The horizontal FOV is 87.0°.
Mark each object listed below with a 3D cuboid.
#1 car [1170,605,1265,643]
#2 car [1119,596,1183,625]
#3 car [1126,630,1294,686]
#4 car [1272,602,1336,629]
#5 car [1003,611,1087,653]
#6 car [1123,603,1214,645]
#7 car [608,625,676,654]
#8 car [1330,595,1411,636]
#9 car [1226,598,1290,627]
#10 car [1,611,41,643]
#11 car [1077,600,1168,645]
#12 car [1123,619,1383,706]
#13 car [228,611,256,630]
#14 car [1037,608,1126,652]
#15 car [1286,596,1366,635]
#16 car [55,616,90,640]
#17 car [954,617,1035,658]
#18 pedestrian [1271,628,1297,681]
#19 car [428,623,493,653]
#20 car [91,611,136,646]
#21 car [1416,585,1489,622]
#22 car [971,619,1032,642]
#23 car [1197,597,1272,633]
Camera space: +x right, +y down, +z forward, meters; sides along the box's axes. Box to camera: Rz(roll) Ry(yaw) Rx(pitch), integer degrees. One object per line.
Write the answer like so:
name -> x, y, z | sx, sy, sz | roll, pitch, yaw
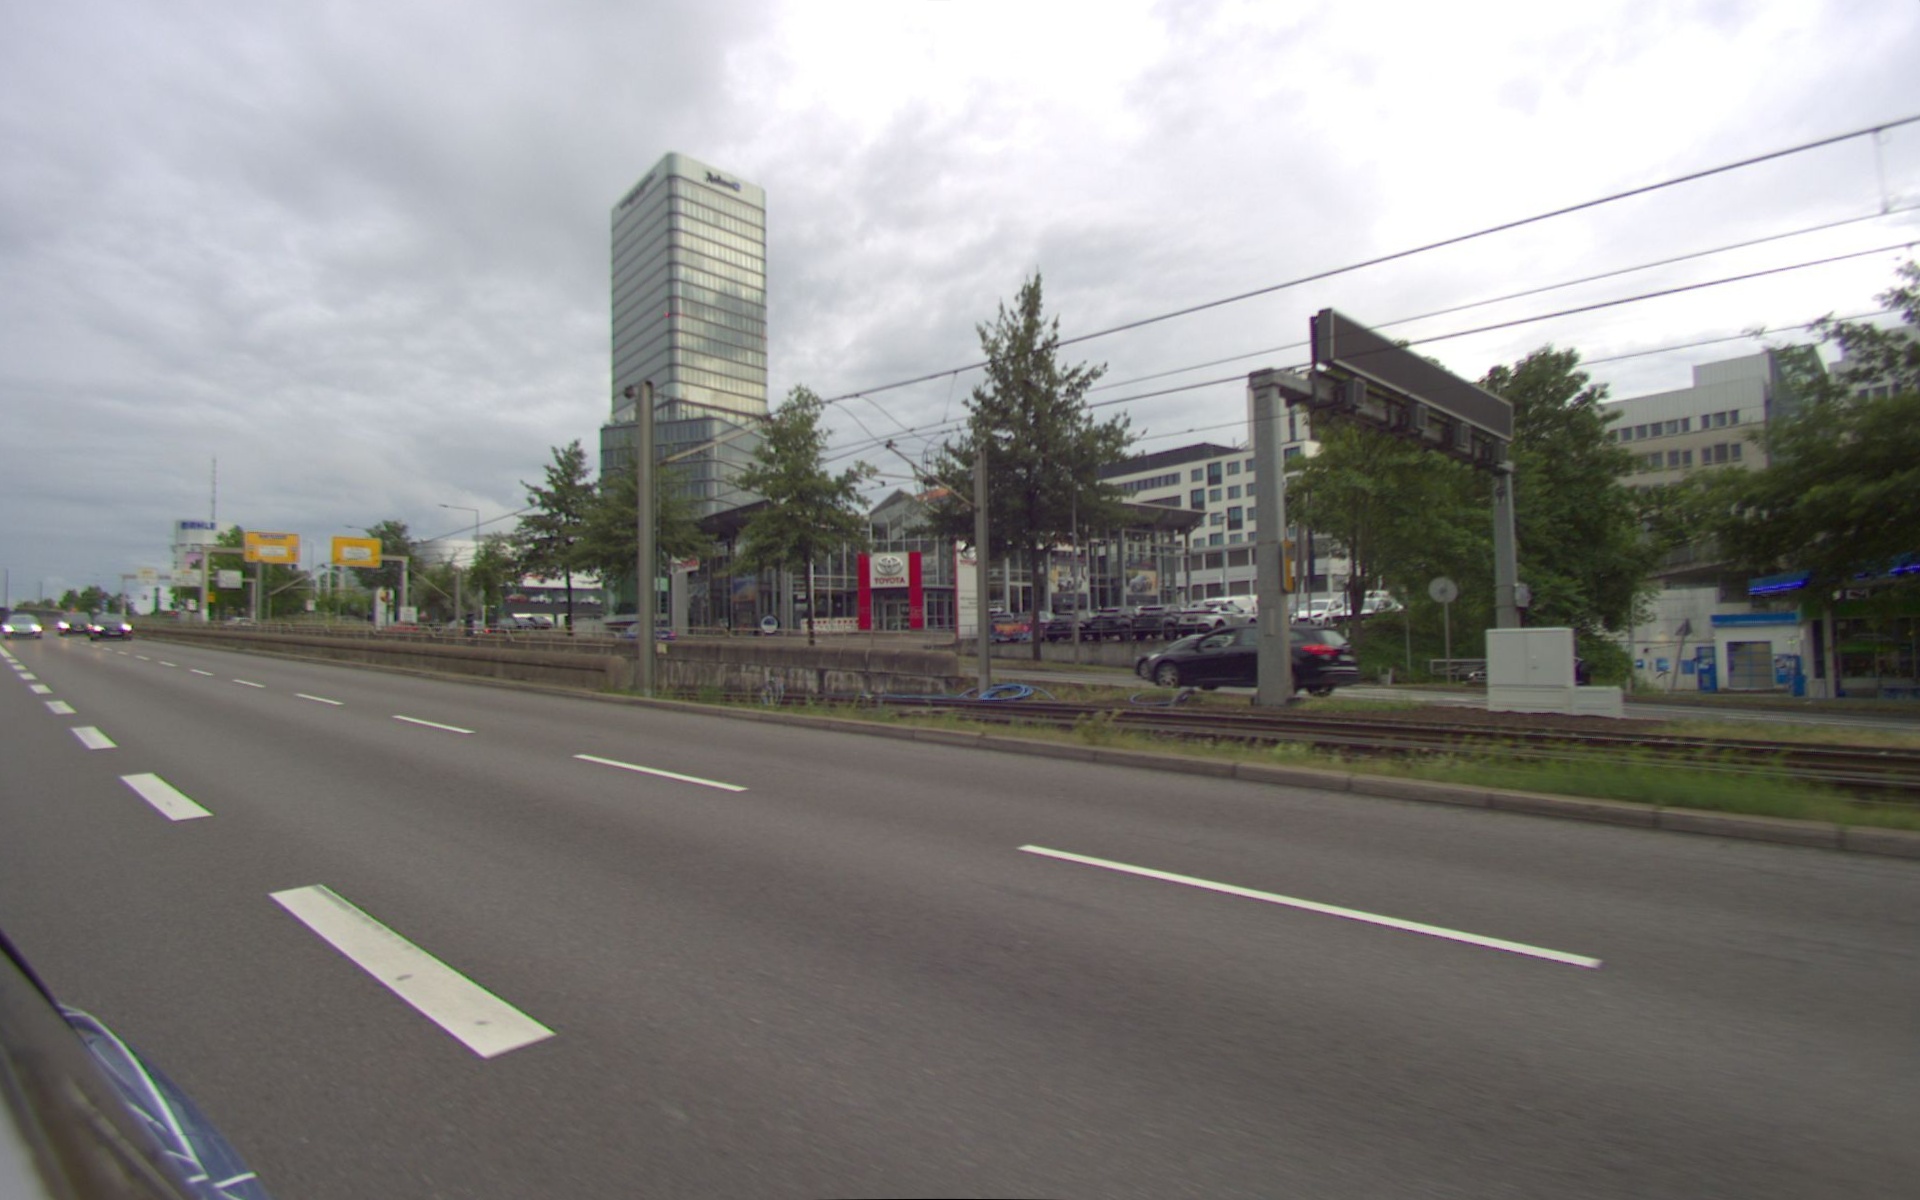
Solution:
car -> 11.114, 1.003, 43.577 | 4.300, 1.515, 1.888 | 0, 0, -42
car -> 12.516, 0.637, 66.258 | 4.300, 1.828, 1.888 | 0, 0, -42
car -> 7.625, 1.736, 31.095 | 4.563, 1.540, 2.027 | -2, -1, 40
car -> 19.116, 0.831, 56.173 | 3.924, 1.383, 1.661 | 0, 0, -42
car -> 4.325, 1.570, 51.129 | 4.302, 1.962, 1.887 | 0, 0, -44
car -> 9.371, 1.038, 45.267 | 4.135, 1.785, 1.888 | 0, 0, -42
car -> -16.463, 2.016, 52.286 | 1.745, 1.319, 4.115 | 0, 0, -43
car -> 19.623, 0.708, 48.306 | 4.300, 1.828, 1.888 | 0, 0, -42
car -> 17.261, 0.684, 58.607 | 3.860, 1.605, 1.805 | 0, 0, -42
car -> -59.268, 1.663, 63.904 | 1.768, 1.882, 4.382 | 0, 0, -43
car -> 7.582, 1.003, 46.921 | 4.300, 1.962, 1.888 | 0, 0, -42
car -> 5.967, 1.242, 21.019 | 4.760, 1.550, 2.024 | -3, -2, 44
car -> -74.044, 2.085, 104.352 | 1.768, 1.882, 4.382 | 0, 0, -43
car -> 5.858, 1.400, 48.709 | 4.300, 1.962, 1.888 | 0, 0, -42
car -> 18.009, 0.726, 49.781 | 4.300, 1.828, 1.888 | 0, 0, -42
car -> -62.329, 1.954, 71.032 | 1.768, 1.556, 4.382 | 0, 0, -43
car -> 1.853, 1.920, 52.956 | 4.165, 1.962, 1.866 | 0, 0, -44
pedestrian -> 11.295, 1.878, 35.290 | 0.678, 1.809, 0.637 | 0, 0, -44
car -> -26.930, 2.006, 54.500 | 1.768, 1.411, 4.879 | 0, 0, -44
car -> -48.463, 1.606, 57.928 | 1.768, 1.882, 4.382 | 0, 0, -43
car -> 24.969, 0.166, 51.241 | 4.300, 1.784, 1.846 | 0, 0, -42
car -> 2.789, 2.005, 67.042 | 3.938, 1.417, 1.762 | 0, 0, -42
car -> 14.886, 0.787, 54.704 | 4.300, 1.828, 1.888 | 0, 0, -42
